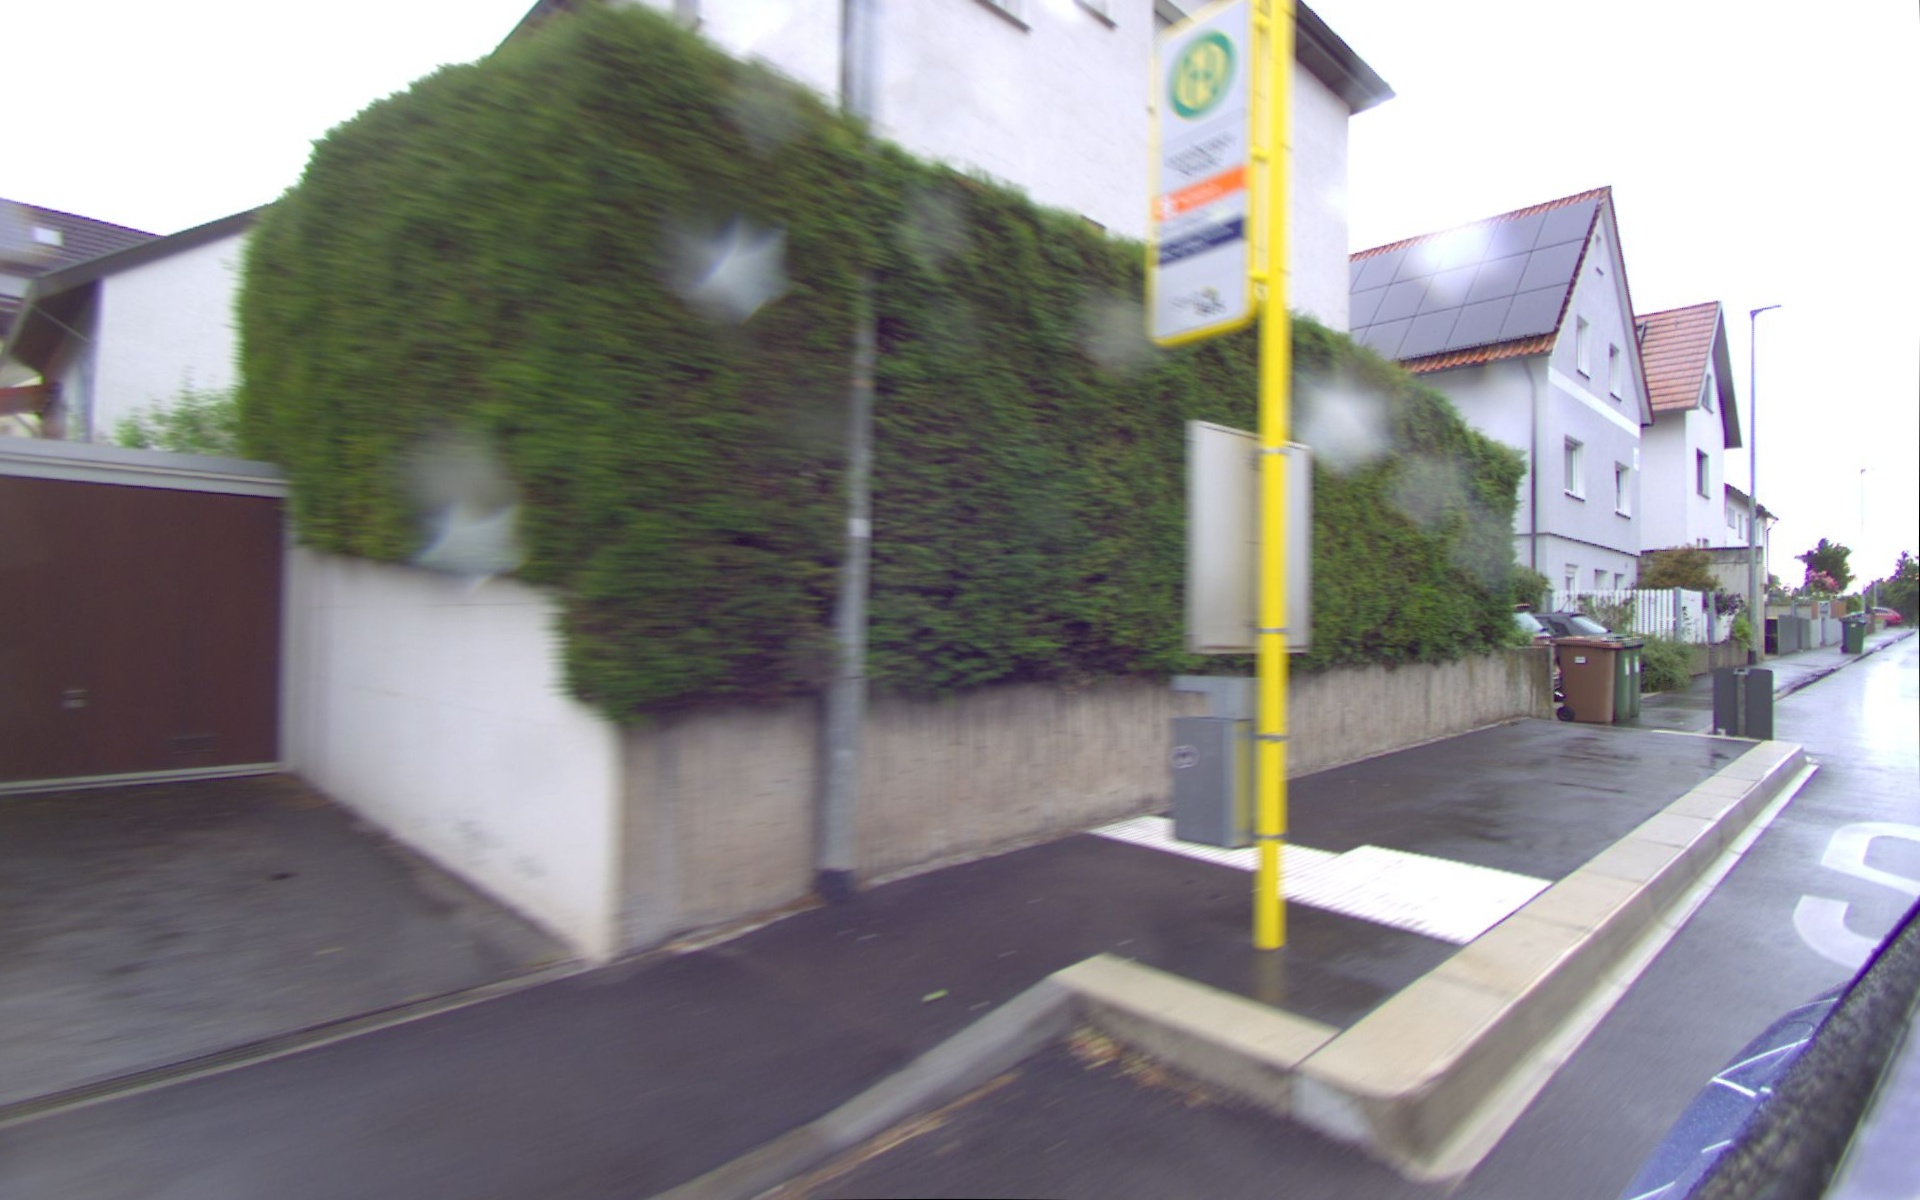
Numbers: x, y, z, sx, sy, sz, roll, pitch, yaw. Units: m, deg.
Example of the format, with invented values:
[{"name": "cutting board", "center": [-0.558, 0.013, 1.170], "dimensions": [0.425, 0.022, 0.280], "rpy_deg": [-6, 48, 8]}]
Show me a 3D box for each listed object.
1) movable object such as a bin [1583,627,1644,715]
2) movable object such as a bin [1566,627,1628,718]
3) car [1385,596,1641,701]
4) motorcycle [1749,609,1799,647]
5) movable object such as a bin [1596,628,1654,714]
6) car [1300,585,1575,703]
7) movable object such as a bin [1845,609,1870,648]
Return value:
[{"name": "movable object such as a bin", "center": [8.429, 0.899, 13.059], "dimensions": [0.567, 1.090, 0.529], "rpy_deg": [0, -1, 44]}, {"name": "movable object such as a bin", "center": [7.989, 0.891, 12.698], "dimensions": [0.567, 1.090, 0.515], "rpy_deg": [0, -1, 44]}, {"name": "car", "center": [9.394, 0.861, 17.377], "dimensions": [1.554, 1.501, 3.444], "rpy_deg": [0, -6, -44]}, {"name": "motorcycle", "center": [23.117, 0.783, 28.761], "dimensions": [0.546, 1.025, 1.149], "rpy_deg": [1, 1, 6]}, {"name": "movable object such as a bin", "center": [8.846, 0.923, 13.464], "dimensions": [0.567, 1.090, 0.529], "rpy_deg": [0, -1, 44]}, {"name": "car", "center": [7.213, 0.576, 15.493], "dimensions": [1.554, 1.529, 3.480], "rpy_deg": [1, 1, -44]}, {"name": "movable object such as a bin", "center": [28.170, 0.892, 31.762], "dimensions": [0.567, 1.201, 0.529], "rpy_deg": [1, 0, 44]}]
